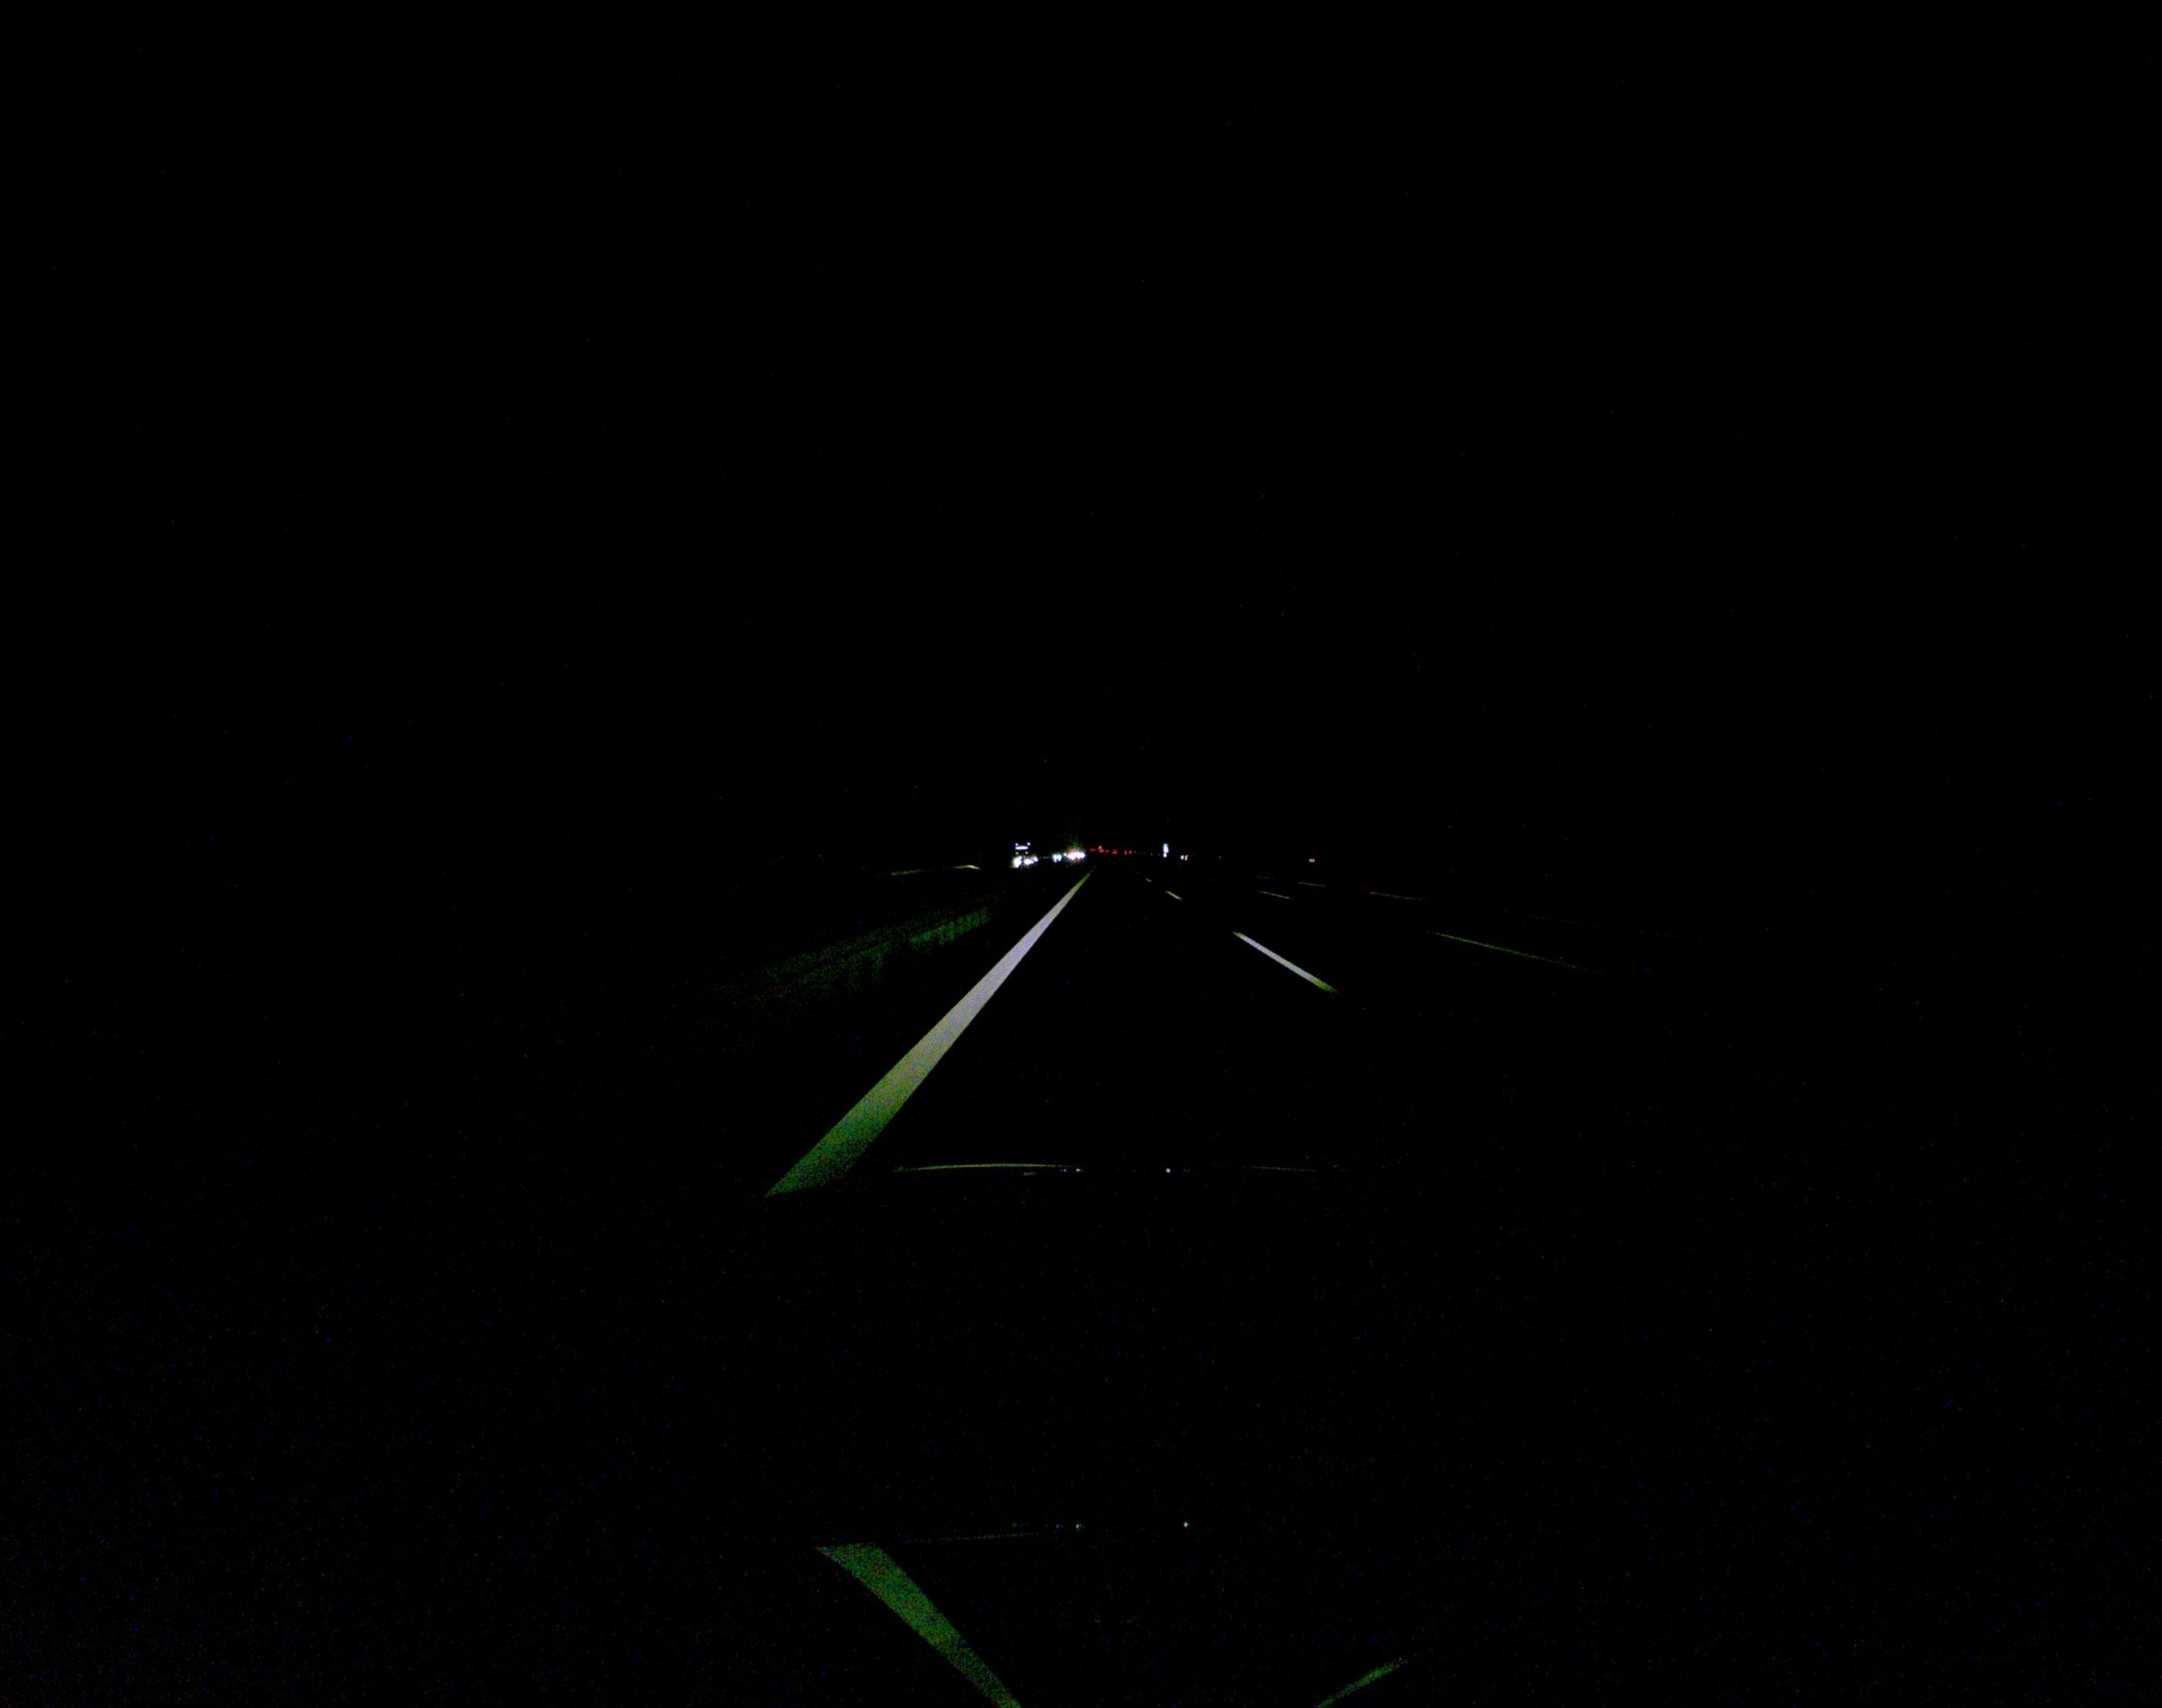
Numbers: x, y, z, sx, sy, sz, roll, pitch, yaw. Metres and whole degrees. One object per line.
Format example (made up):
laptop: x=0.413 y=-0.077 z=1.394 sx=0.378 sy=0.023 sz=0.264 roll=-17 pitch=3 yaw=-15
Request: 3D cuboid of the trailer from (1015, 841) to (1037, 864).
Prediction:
trailer: x=-10.904 y=-0.240 z=163.228 sx=2.850 sy=4.176 sz=13.908 roll=-3 pitch=0 yaw=1

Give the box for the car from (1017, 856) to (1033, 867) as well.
car: x=-8.577 y=1.173 z=124.844 sx=1.988 sy=1.461 sz=4.690 roll=-3 pitch=0 yaw=-1

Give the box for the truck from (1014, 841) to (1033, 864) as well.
truck: x=-11.021 y=-0.287 z=156.185 sx=2.744 sy=4.212 sz=5.827 roll=-3 pitch=0 yaw=1
